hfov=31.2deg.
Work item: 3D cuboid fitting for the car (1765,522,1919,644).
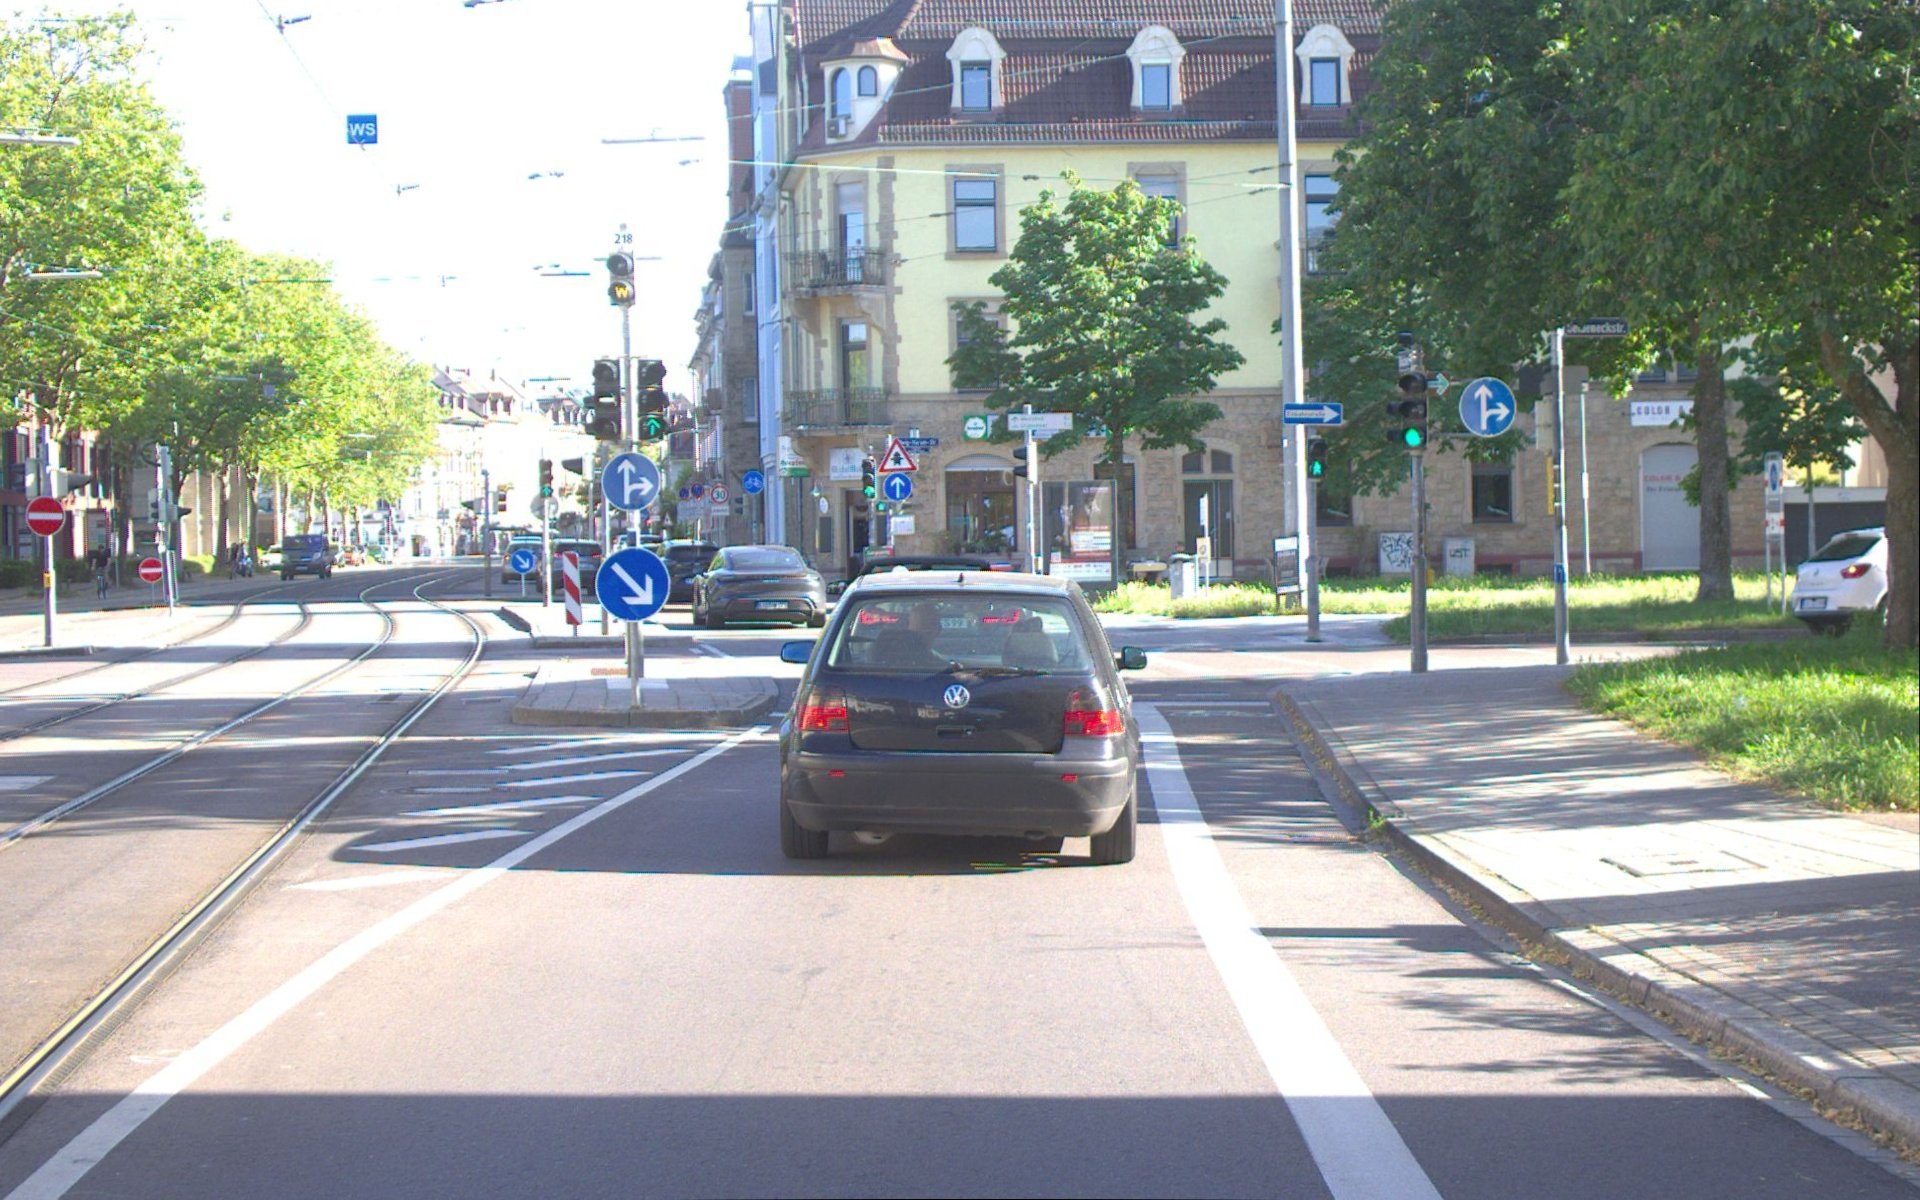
[{"bbox_3d":[12.104,-0.246,42.604,3.796,1.436,1.746,-2,1,-21],"label":"car"}]

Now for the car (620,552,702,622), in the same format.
[{"bbox_3d":[-6.558,-0.300,75.145,1.569,1.306,3.501,-1,4,-8],"label":"car"}]

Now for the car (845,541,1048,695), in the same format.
[{"bbox_3d":[-0.186,0.130,33.615,1.634,1.367,3.758,-1,1,-5],"label":"car"}]

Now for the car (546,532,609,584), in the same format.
[{"bbox_3d":[-10.989,-1.215,98.693,1.680,1.448,3.380,-1,1,-8],"label":"car"}]

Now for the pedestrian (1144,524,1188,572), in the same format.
[{"bbox_3d":[5.155,-1.311,86.162,0.979,1.183,0.743,-1,1,-6],"label":"pedestrian"}]

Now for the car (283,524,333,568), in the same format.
[{"bbox_3d":[-27.663,-2.287,145.892,1.971,1.809,4.298,-1,1,-10],"label":"car"}]

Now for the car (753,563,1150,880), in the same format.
[{"bbox_3d":[0.069,0.529,17.596,1.716,1.398,4.006,1,1,4],"label":"car"}]

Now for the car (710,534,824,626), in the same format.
[{"bbox_3d":[-3.258,-0.366,57.595,1.569,1.306,3.648,-1,4,-8],"label":"car"}]

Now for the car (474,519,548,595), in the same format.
[{"bbox_3d":[-11.325,-1.110,86.695,1.787,1.853,4.001,-1,1,-7],"label":"car"}]
